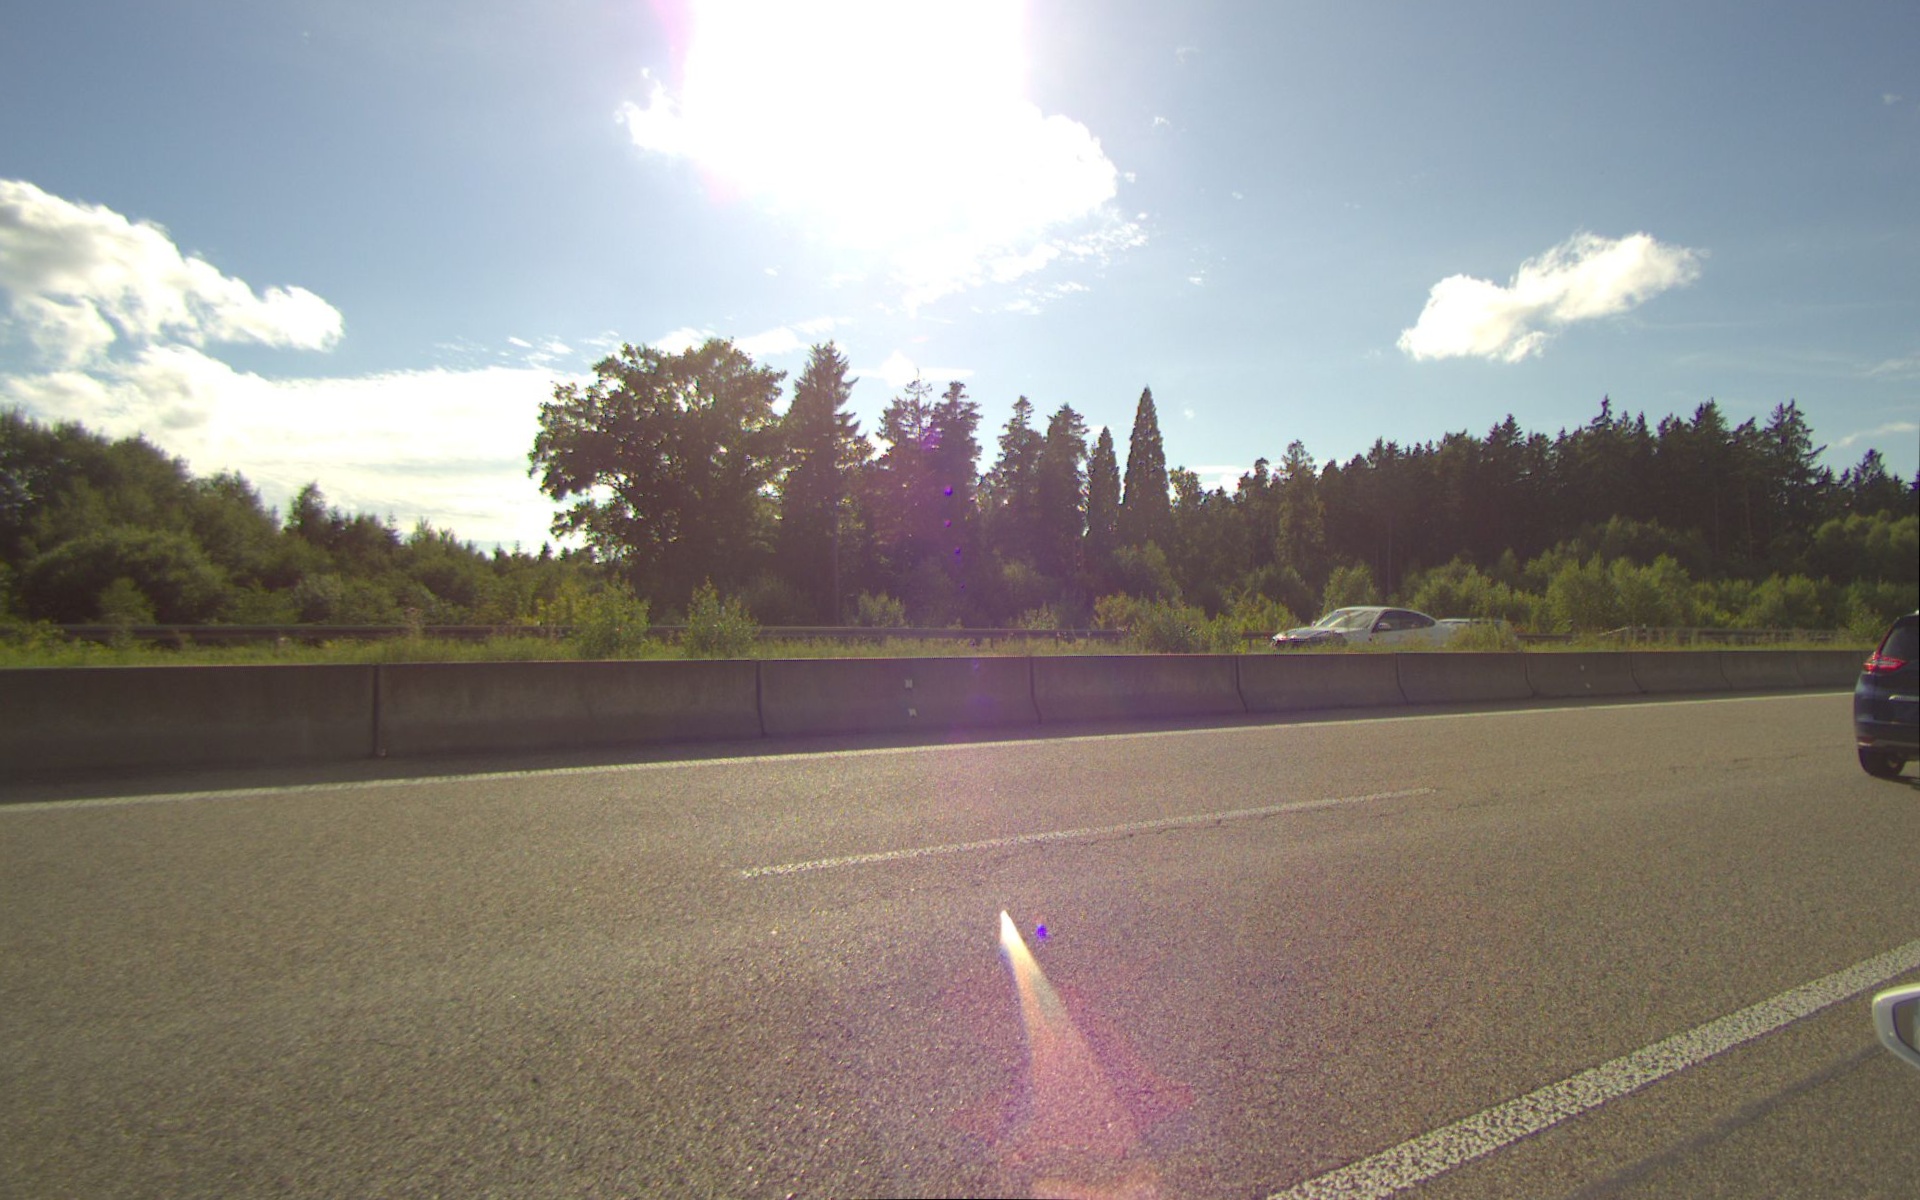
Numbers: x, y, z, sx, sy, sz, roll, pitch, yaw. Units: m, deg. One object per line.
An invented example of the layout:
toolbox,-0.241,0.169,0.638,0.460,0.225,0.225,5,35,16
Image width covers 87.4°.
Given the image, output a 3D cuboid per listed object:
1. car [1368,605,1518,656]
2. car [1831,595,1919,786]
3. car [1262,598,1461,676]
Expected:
car,14.799,0.919,30.741,4.411,1.422,1.984,1,0,-30
car,10.853,0.871,10.001,4.476,1.729,1.984,1,0,-31
car,9.193,0.808,22.931,4.411,1.630,1.917,1,0,-30
